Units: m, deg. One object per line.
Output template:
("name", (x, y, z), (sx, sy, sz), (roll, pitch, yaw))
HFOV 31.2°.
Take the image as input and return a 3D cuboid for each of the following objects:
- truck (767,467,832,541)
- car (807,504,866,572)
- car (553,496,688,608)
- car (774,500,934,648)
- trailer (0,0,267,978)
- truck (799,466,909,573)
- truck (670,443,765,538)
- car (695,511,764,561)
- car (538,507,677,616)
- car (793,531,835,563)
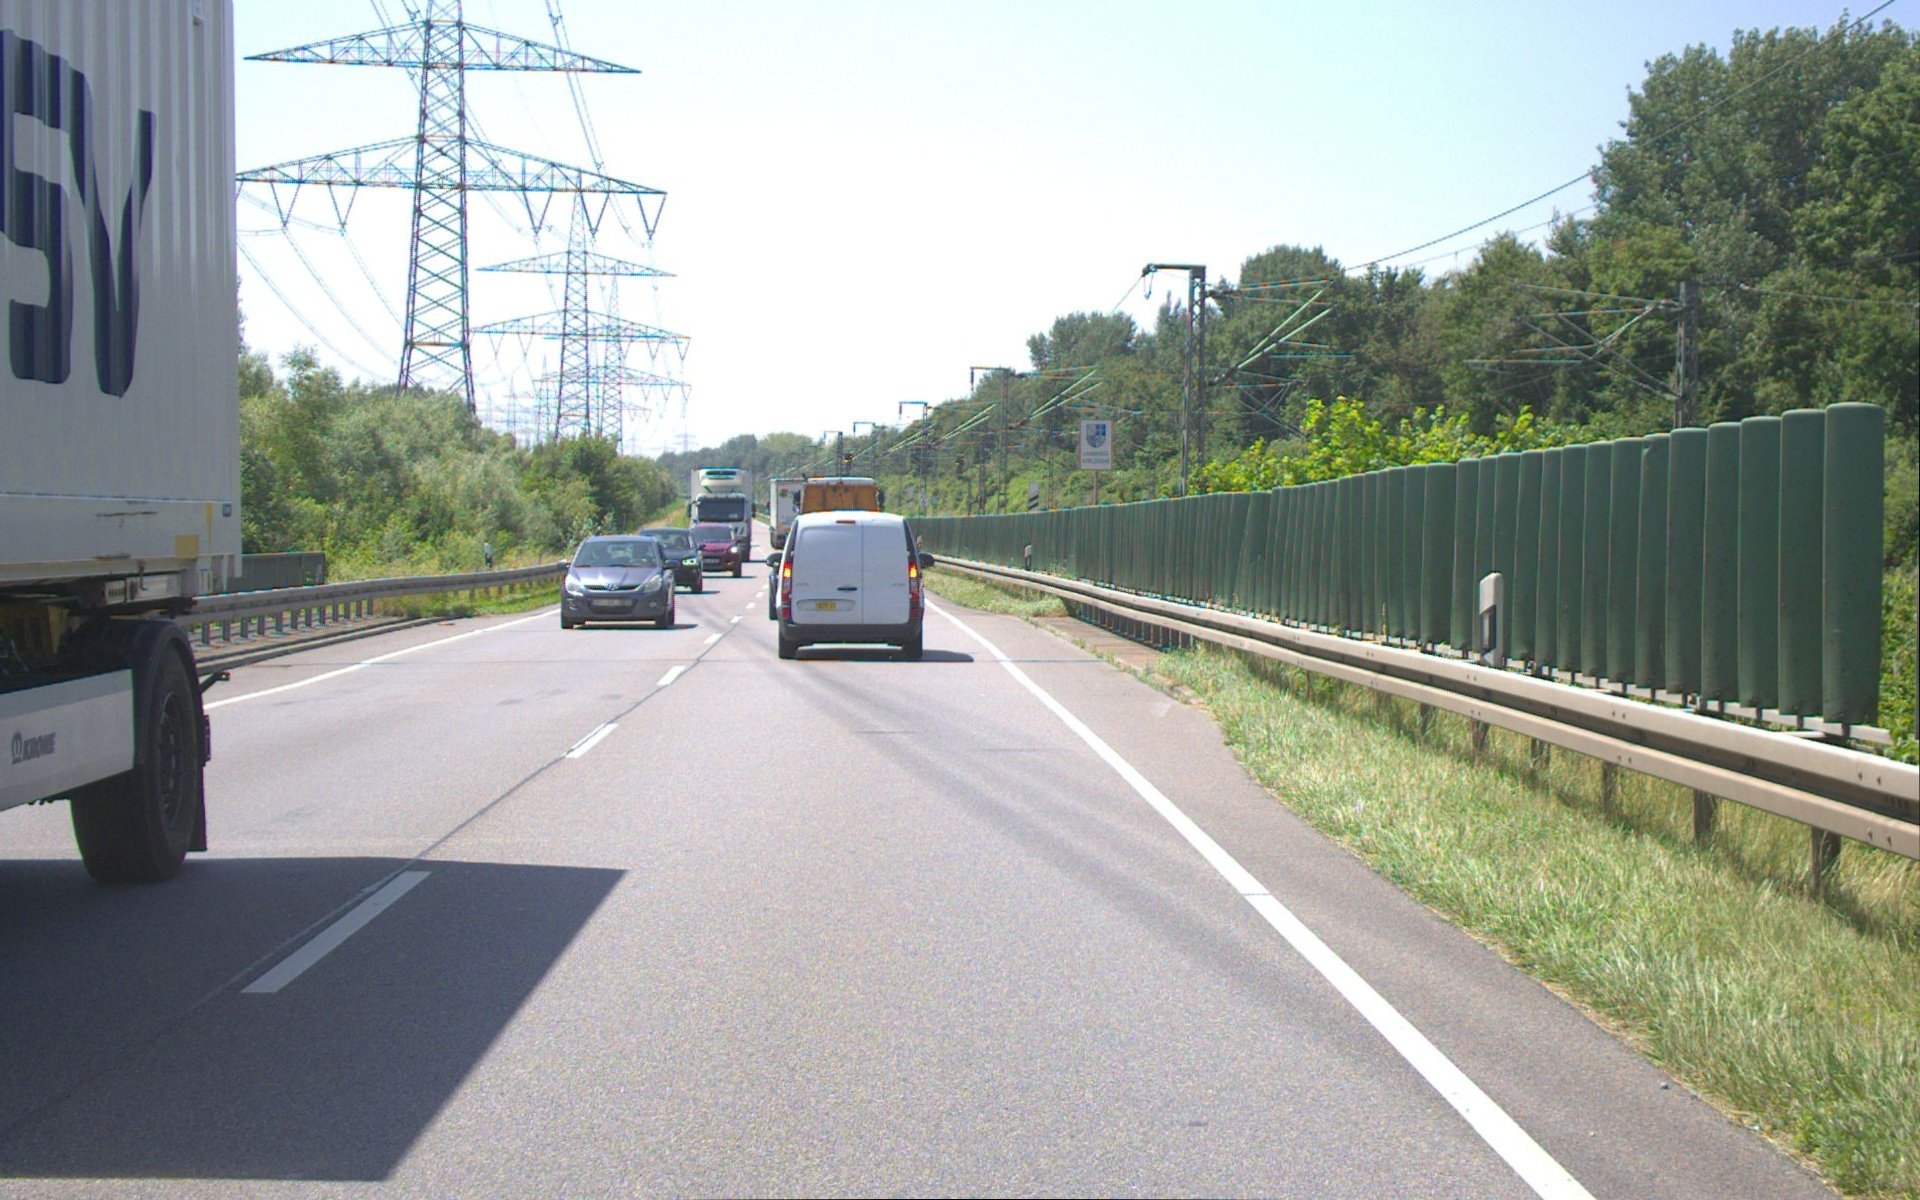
("truck", (-9.349, -5.681, 199.833), (3.402, 3.841, 16.821), (3, 2, -3))
("car", (-3.757, -1.902, 104.608), (1.763, 2.007, 4.001), (0, 1, -2))
("car", (-5.484, -0.797, 55.954), (1.993, 1.735, 4.001), (0, 1, -3))
("car", (-1.352, -0.354, 42.677), (1.875, 1.735, 4.001), (1, 1, -3))
("trailer", (-4.600, -0.745, 11.853), (2.719, 4.028, 9.075), (0, 1, -1))
("truck", (-3.603, -2.813, 116.067), (3.296, 3.161, 14.407), (3, 2, -2))
("truck", (-10.810, -5.016, 154.744), (3.402, 3.841, 16.821), (3, 2, -2))
("car", (-7.280, -2.032, 108.940), (1.993, 1.521, 4.000), (0, 1, -1))
("car", (-5.841, -0.662, 57.322), (1.993, 1.735, 4.000), (0, 1, -1))
("car", (-7.091, -2.601, 167.208), (1.993, 1.521, 4.001), (0, 1, -2))
